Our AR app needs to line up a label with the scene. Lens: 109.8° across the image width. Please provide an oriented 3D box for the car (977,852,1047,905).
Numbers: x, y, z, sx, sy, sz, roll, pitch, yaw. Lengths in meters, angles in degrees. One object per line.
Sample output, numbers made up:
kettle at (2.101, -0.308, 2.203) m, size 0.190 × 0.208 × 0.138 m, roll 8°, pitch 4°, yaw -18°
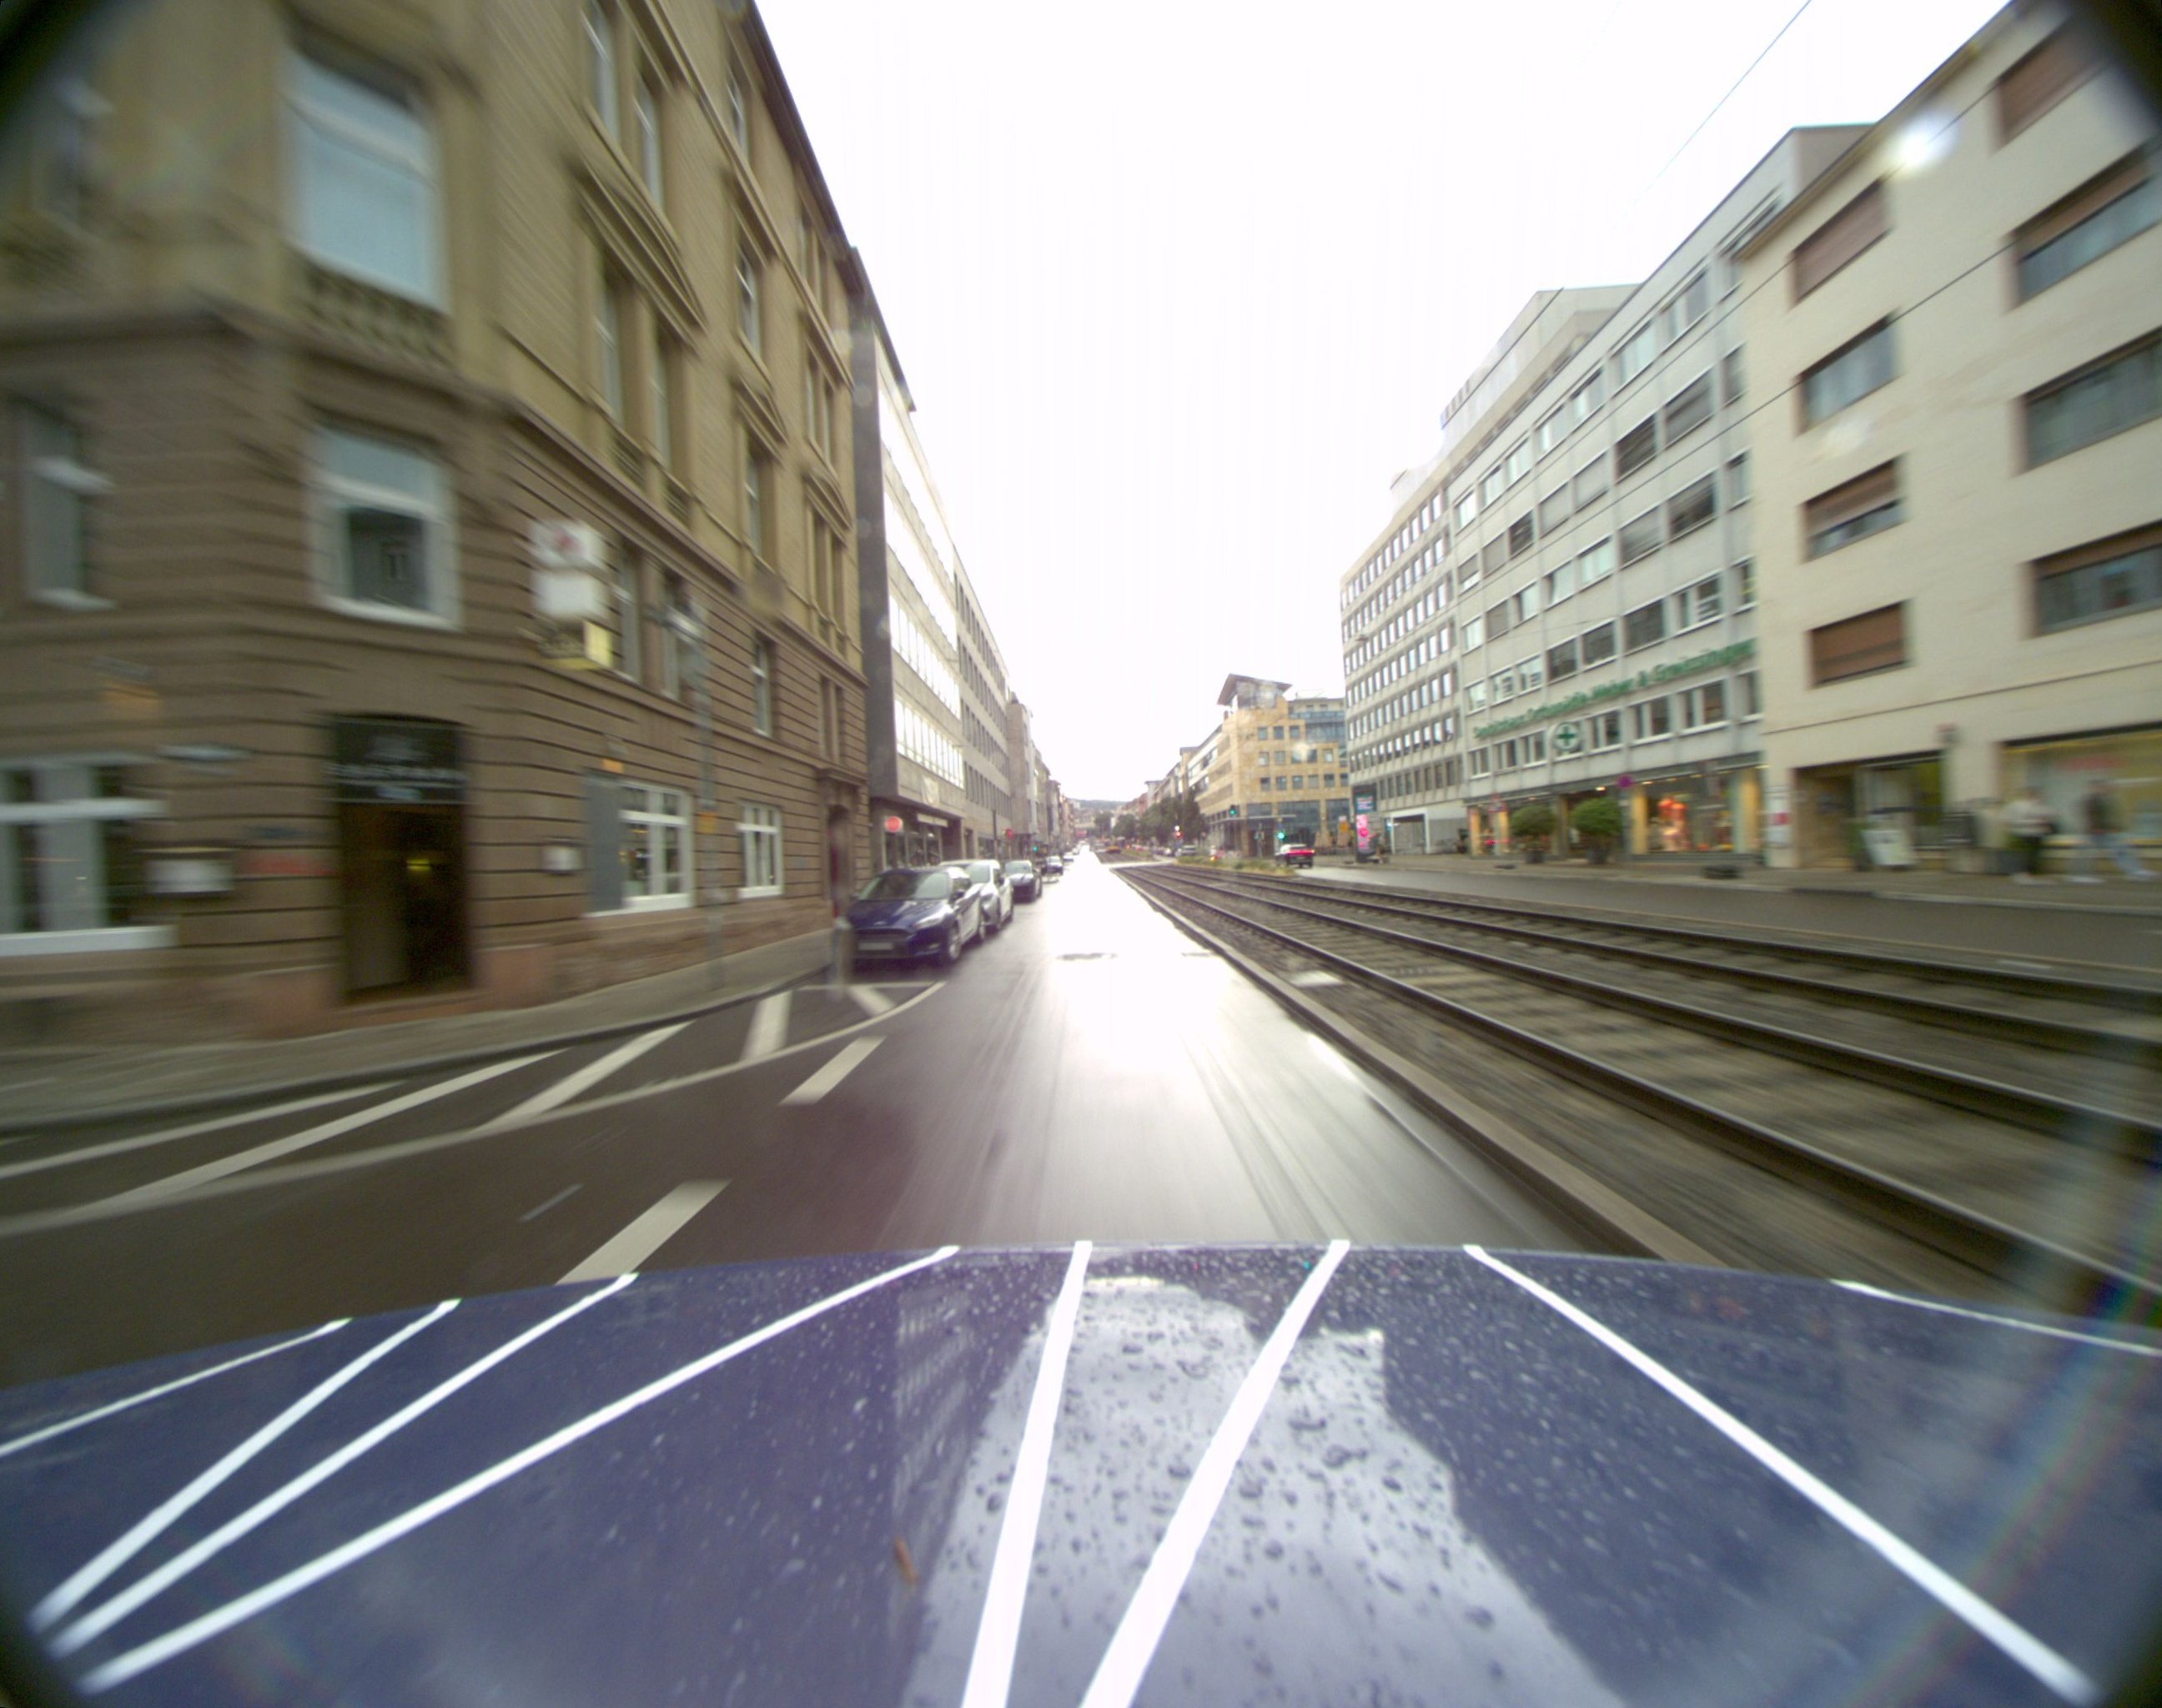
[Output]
car at (-2.429, 0.827, 28.045) m, size 1.998 × 1.585 × 4.571 m, roll -2°, pitch 1°, yaw 1°

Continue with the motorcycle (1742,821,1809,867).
motorcycle at (19.287, -0.271, 21.101) m, size 1.480 × 1.173 × 0.386 m, roll -3°, pitch 1°, yaw -1°

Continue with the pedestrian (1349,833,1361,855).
pedestrian at (23.867, -0.865, 66.152) m, size 0.566 × 1.812 × 0.844 m, roll -4°, pitch 1°, yaw -4°

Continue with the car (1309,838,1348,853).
car at (29.726, -1.056, 91.218) m, size 3.996 × 1.521 × 1.891 m, roll -3°, pitch 1°, yaw 2°

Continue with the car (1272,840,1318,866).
car at (14.158, -0.074, 50.465) m, size 1.998 × 1.510 × 4.444 m, roll -3°, pitch 1°, yaw 4°

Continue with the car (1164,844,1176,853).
car at (16.493, -1.073, 141.156) m, size 1.653 × 1.489 × 4.292 m, roll -2°, pitch 1°, yaw 1°

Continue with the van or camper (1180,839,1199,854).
van or camper at (16.119, -1.200, 112.744) m, size 2.022 × 1.986 × 5.196 m, roll -3°, pitch 2°, yaw 1°

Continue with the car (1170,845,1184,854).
car at (16.514, -0.757, 130.960) m, size 1.693 × 1.477 × 3.999 m, roll -3°, pitch 0°, yaw -1°

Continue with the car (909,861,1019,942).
car at (-2.524, 0.977, 17.481) m, size 1.750 × 1.514 × 4.355 m, roll -3°, pitch 0°, yaw 0°

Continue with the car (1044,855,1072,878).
car at (-1.772, 0.928, 60.139) m, size 1.998 × 1.585 × 4.270 m, roll -2°, pitch 1°, yaw 1°

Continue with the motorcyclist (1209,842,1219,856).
motorcyclist at (12.234, -0.427, 69.753) m, size 0.743 × 1.210 × 0.970 m, roll -3°, pitch 1°, yaw 2°

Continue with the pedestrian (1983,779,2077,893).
pedestrian at (16.541, -0.311, 13.258) m, size 0.680 × 1.885 × 0.742 m, roll -3°, pitch 1°, yaw 1°

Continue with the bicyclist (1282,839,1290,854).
bicyclist at (25.615, -0.969, 95.034) m, size 0.710 × 1.794 × 0.784 m, roll -3°, pitch 1°, yaw 1°

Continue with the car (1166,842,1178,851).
car at (16.320, -1.377, 135.809) m, size 1.653 × 1.489 × 4.192 m, roll -2°, pitch 1°, yaw 1°

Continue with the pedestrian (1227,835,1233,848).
pedestrian at (20.586, -1.758, 104.970) m, size 0.703 × 1.804 × 0.679 m, roll -3°, pitch 1°, yaw 3°

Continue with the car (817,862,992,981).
car at (-2.688, 0.961, 12.614) m, size 1.724 × 1.507 × 4.258 m, roll -3°, pitch 0°, yaw 2°

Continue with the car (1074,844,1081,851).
car at (-0.812, -1.567, 188.286) m, size 1.653 × 1.489 × 4.066 m, roll -2°, pitch 1°, yaw 1°

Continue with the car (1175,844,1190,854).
car at (16.178, -0.743, 120.734) m, size 1.693 × 1.477 × 4.255 m, roll -3°, pitch 0°, yaw -1°

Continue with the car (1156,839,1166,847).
car at (16.715, -2.297, 159.110) m, size 1.653 × 1.532 × 4.621 m, roll -2°, pitch 1°, yaw 1°

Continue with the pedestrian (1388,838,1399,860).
pedestrian at (27.211, -0.415, 66.139) m, size 0.566 × 1.741 × 0.842 m, roll -4°, pitch 10°, yaw -4°

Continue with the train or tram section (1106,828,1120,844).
train or tram section at (8.477, -4.956, 203.808) m, size 2.909 × 4.028 × 18.762 m, roll -2°, pitch 2°, yaw 1°

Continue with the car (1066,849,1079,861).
car at (-1.355, 0.135, 120.020) m, size 2.029 × 1.585 × 4.619 m, roll -2°, pitch 1°, yaw 0°

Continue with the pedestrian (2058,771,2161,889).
pedestrian at (17.422, -0.400, 12.752) m, size 0.729 × 1.885 × 0.983 m, roll -3°, pitch 1°, yaw 1°

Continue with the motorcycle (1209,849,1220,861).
motorcycle at (12.266, 0.077, 69.760) m, size 0.744 × 1.053 × 1.931 m, roll -3°, pitch 1°, yaw 3°

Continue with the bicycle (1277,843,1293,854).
bicycle at (25.546, -0.724, 95.179) m, size 1.768 × 1.303 × 0.660 m, roll -3°, pitch 0°, yaw 0°

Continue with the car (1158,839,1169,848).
car at (16.658, -2.138, 153.614) m, size 1.653 × 1.532 × 4.621 m, roll -2°, pitch 1°, yaw 1°

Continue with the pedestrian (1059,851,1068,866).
pedestrian at (-1.795, 0.447, 77.314) m, size 0.662 × 1.573 × 0.778 m, roll -3°, pitch 2°, yaw -21°

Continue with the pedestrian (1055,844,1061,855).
pedestrian at (-3.673, -0.743, 122.086) m, size 0.793 × 1.650 × 0.721 m, roll -4°, pitch 2°, yaw 0°
